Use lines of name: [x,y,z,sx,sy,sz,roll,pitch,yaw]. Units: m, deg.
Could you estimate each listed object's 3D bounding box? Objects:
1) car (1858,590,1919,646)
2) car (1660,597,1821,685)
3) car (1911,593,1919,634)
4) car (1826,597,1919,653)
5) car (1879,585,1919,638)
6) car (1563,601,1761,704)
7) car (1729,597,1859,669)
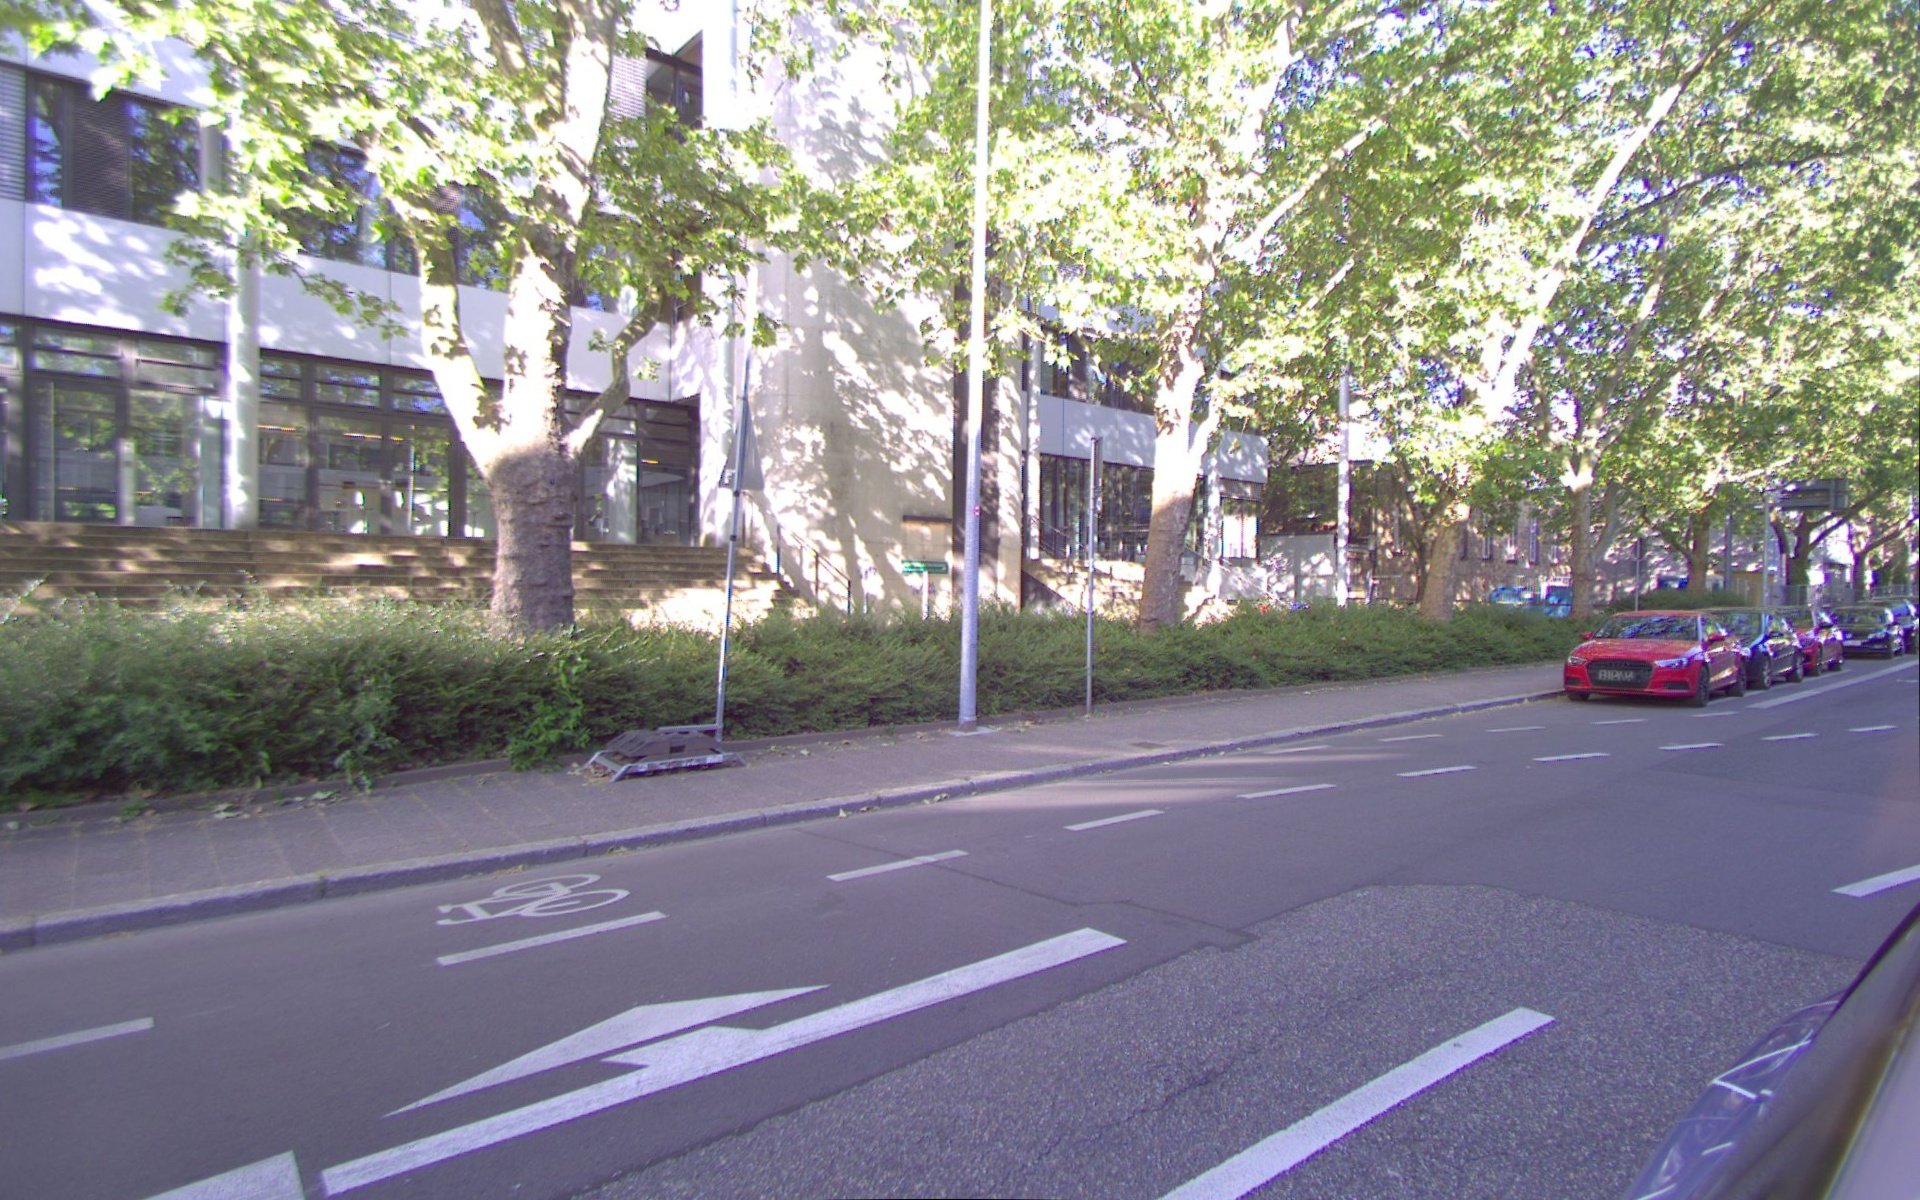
car: [29.521,0.520,31.654,3.770,1.640,1.684,0,1,-41]
car: [14.817,0.701,19.146,3.930,1.485,1.684,0,0,-41]
car: [38.713,0.507,39.727,3.801,1.581,1.684,0,1,-41]
car: [26.020,0.651,28.701,3.930,1.469,1.684,0,1,-41]
car: [33.976,0.387,35.710,4.354,1.790,1.818,0,1,-41]
car: [11.234,0.752,16.102,3.962,1.439,1.722,0,-2,-42]
car: [18.618,0.672,22.540,3.715,1.452,1.664,0,1,-41]
